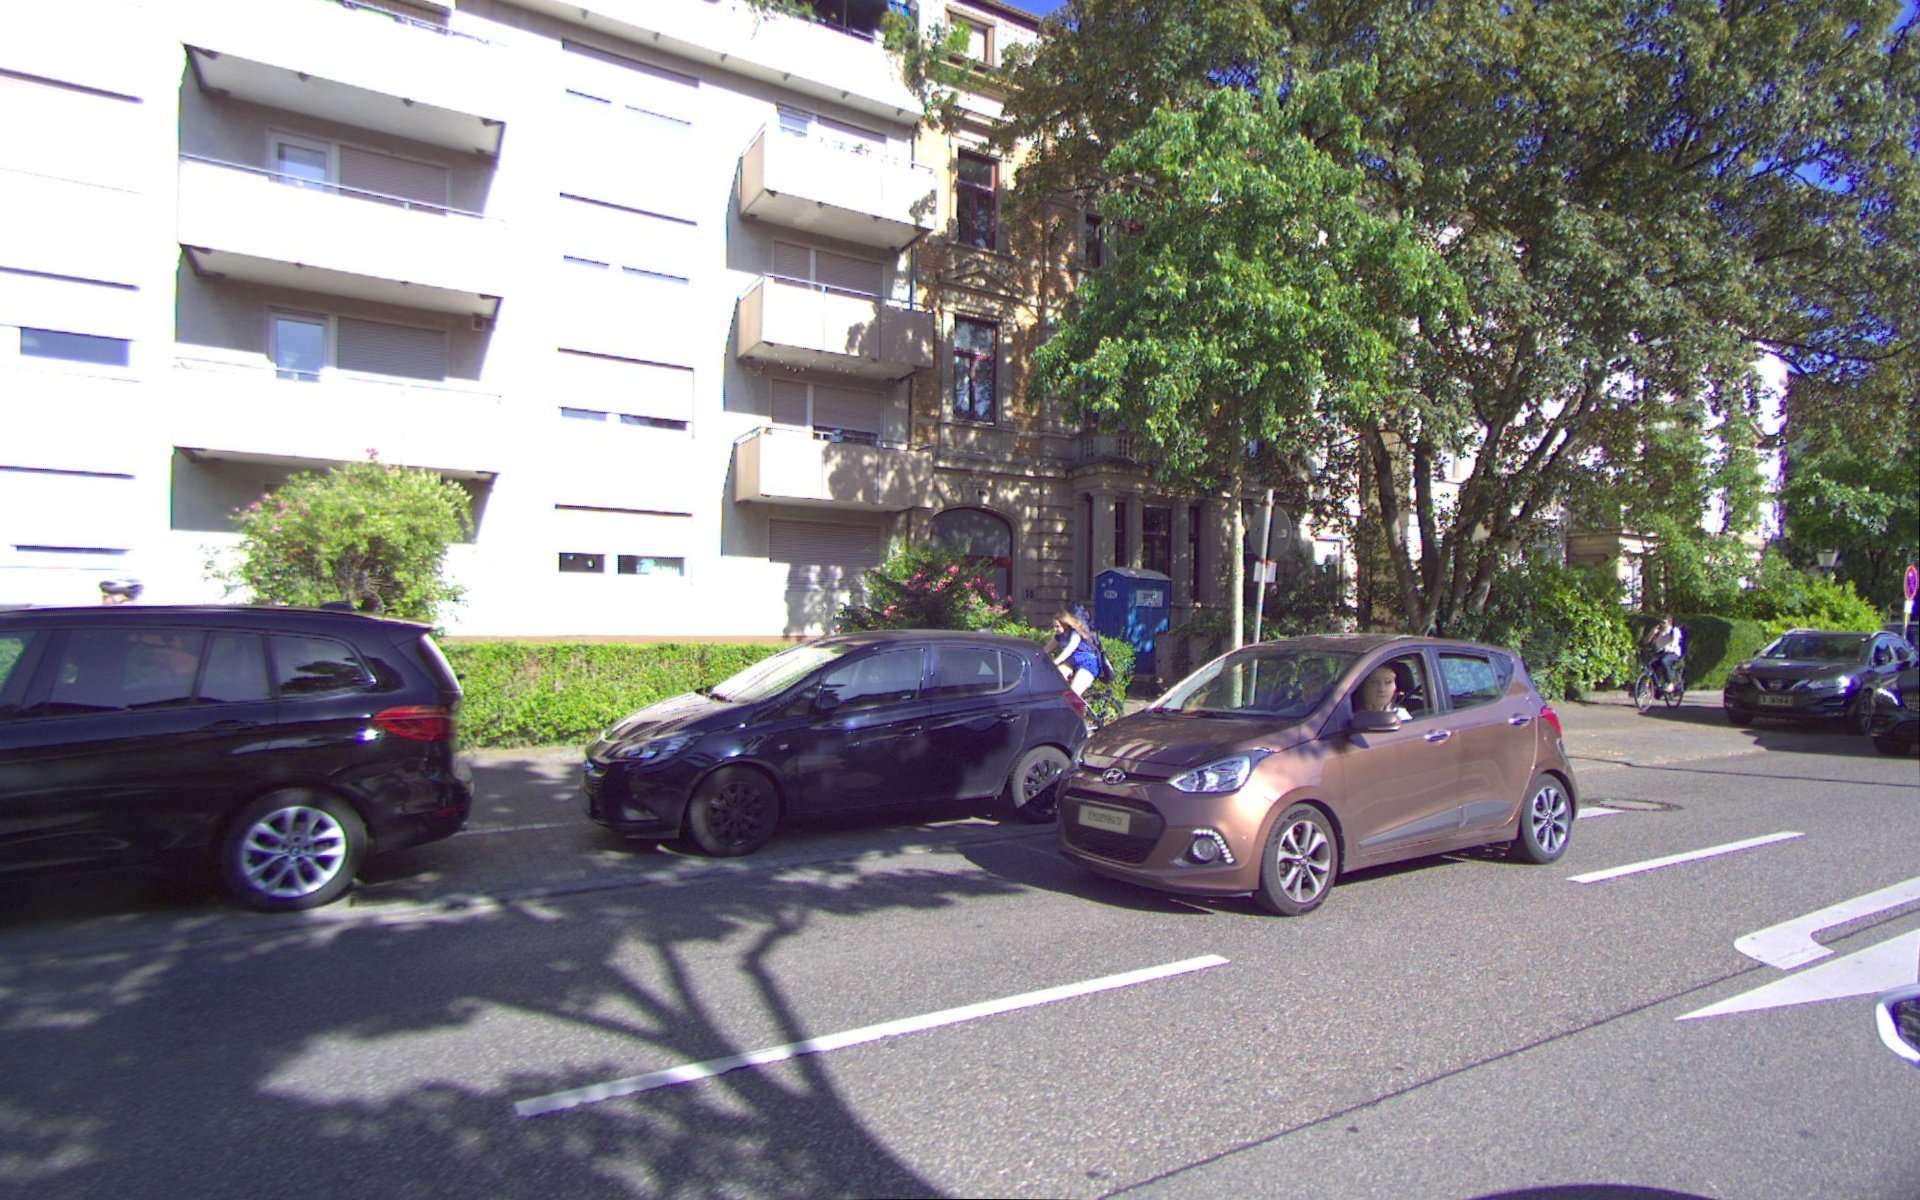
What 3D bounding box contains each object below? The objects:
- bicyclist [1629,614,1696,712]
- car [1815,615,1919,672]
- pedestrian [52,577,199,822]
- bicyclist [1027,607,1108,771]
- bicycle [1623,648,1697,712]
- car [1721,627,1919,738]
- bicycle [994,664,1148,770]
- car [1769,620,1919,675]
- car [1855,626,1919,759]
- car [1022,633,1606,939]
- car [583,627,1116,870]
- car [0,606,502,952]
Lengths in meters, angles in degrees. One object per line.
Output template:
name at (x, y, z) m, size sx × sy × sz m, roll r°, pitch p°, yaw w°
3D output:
bicyclist at (13.257, 1.171, 18.953) m, size 1.194 × 1.790 × 0.579 m, roll 1°, pitch 1°, yaw -31°
car at (32.305, 1.481, 34.538) m, size 4.257 × 1.904 × 1.873 m, roll 0°, pitch -1°, yaw 35°
pedestrian at (-5.980, 0.686, 7.234) m, size 0.710 × 1.673 × 0.467 m, roll 1°, pitch -1°, yaw -30°
bicyclist at (1.211, 0.978, 11.341) m, size 0.683 × 1.777 × 0.606 m, roll 1°, pitch -2°, yaw -30°
bicycle at (13.201, 1.482, 18.928) m, size 1.744 × 1.131 × 0.446 m, roll 1°, pitch 1°, yaw -31°
car at (14.693, 1.295, 16.839) m, size 4.298 × 1.609 × 1.616 m, roll 1°, pitch 0°, yaw -31°
bicycle at (1.271, 1.284, 11.370) m, size 1.723 × 1.087 × 0.606 m, roll 1°, pitch -2°, yaw -30°
car at (29.455, 1.533, 33.406) m, size 3.857 × 1.666 × 1.674 m, roll 0°, pitch -1°, yaw 37°
car at (13.890, 1.163, 13.270) m, size 4.350 × 1.634 × 1.828 m, roll 1°, pitch -4°, yaw -31°
car at (2.373, 0.979, 6.513) m, size 3.702 × 1.470 × 1.573 m, roll 1°, pitch -4°, yaw -31°
car at (-0.812, 0.989, 7.946) m, size 3.883 × 1.496 × 1.595 m, roll 1°, pitch -1°, yaw -29°
car at (-4.948, 0.854, 5.457) m, size 4.342 × 1.626 × 1.662 m, roll 1°, pitch -1°, yaw -30°
